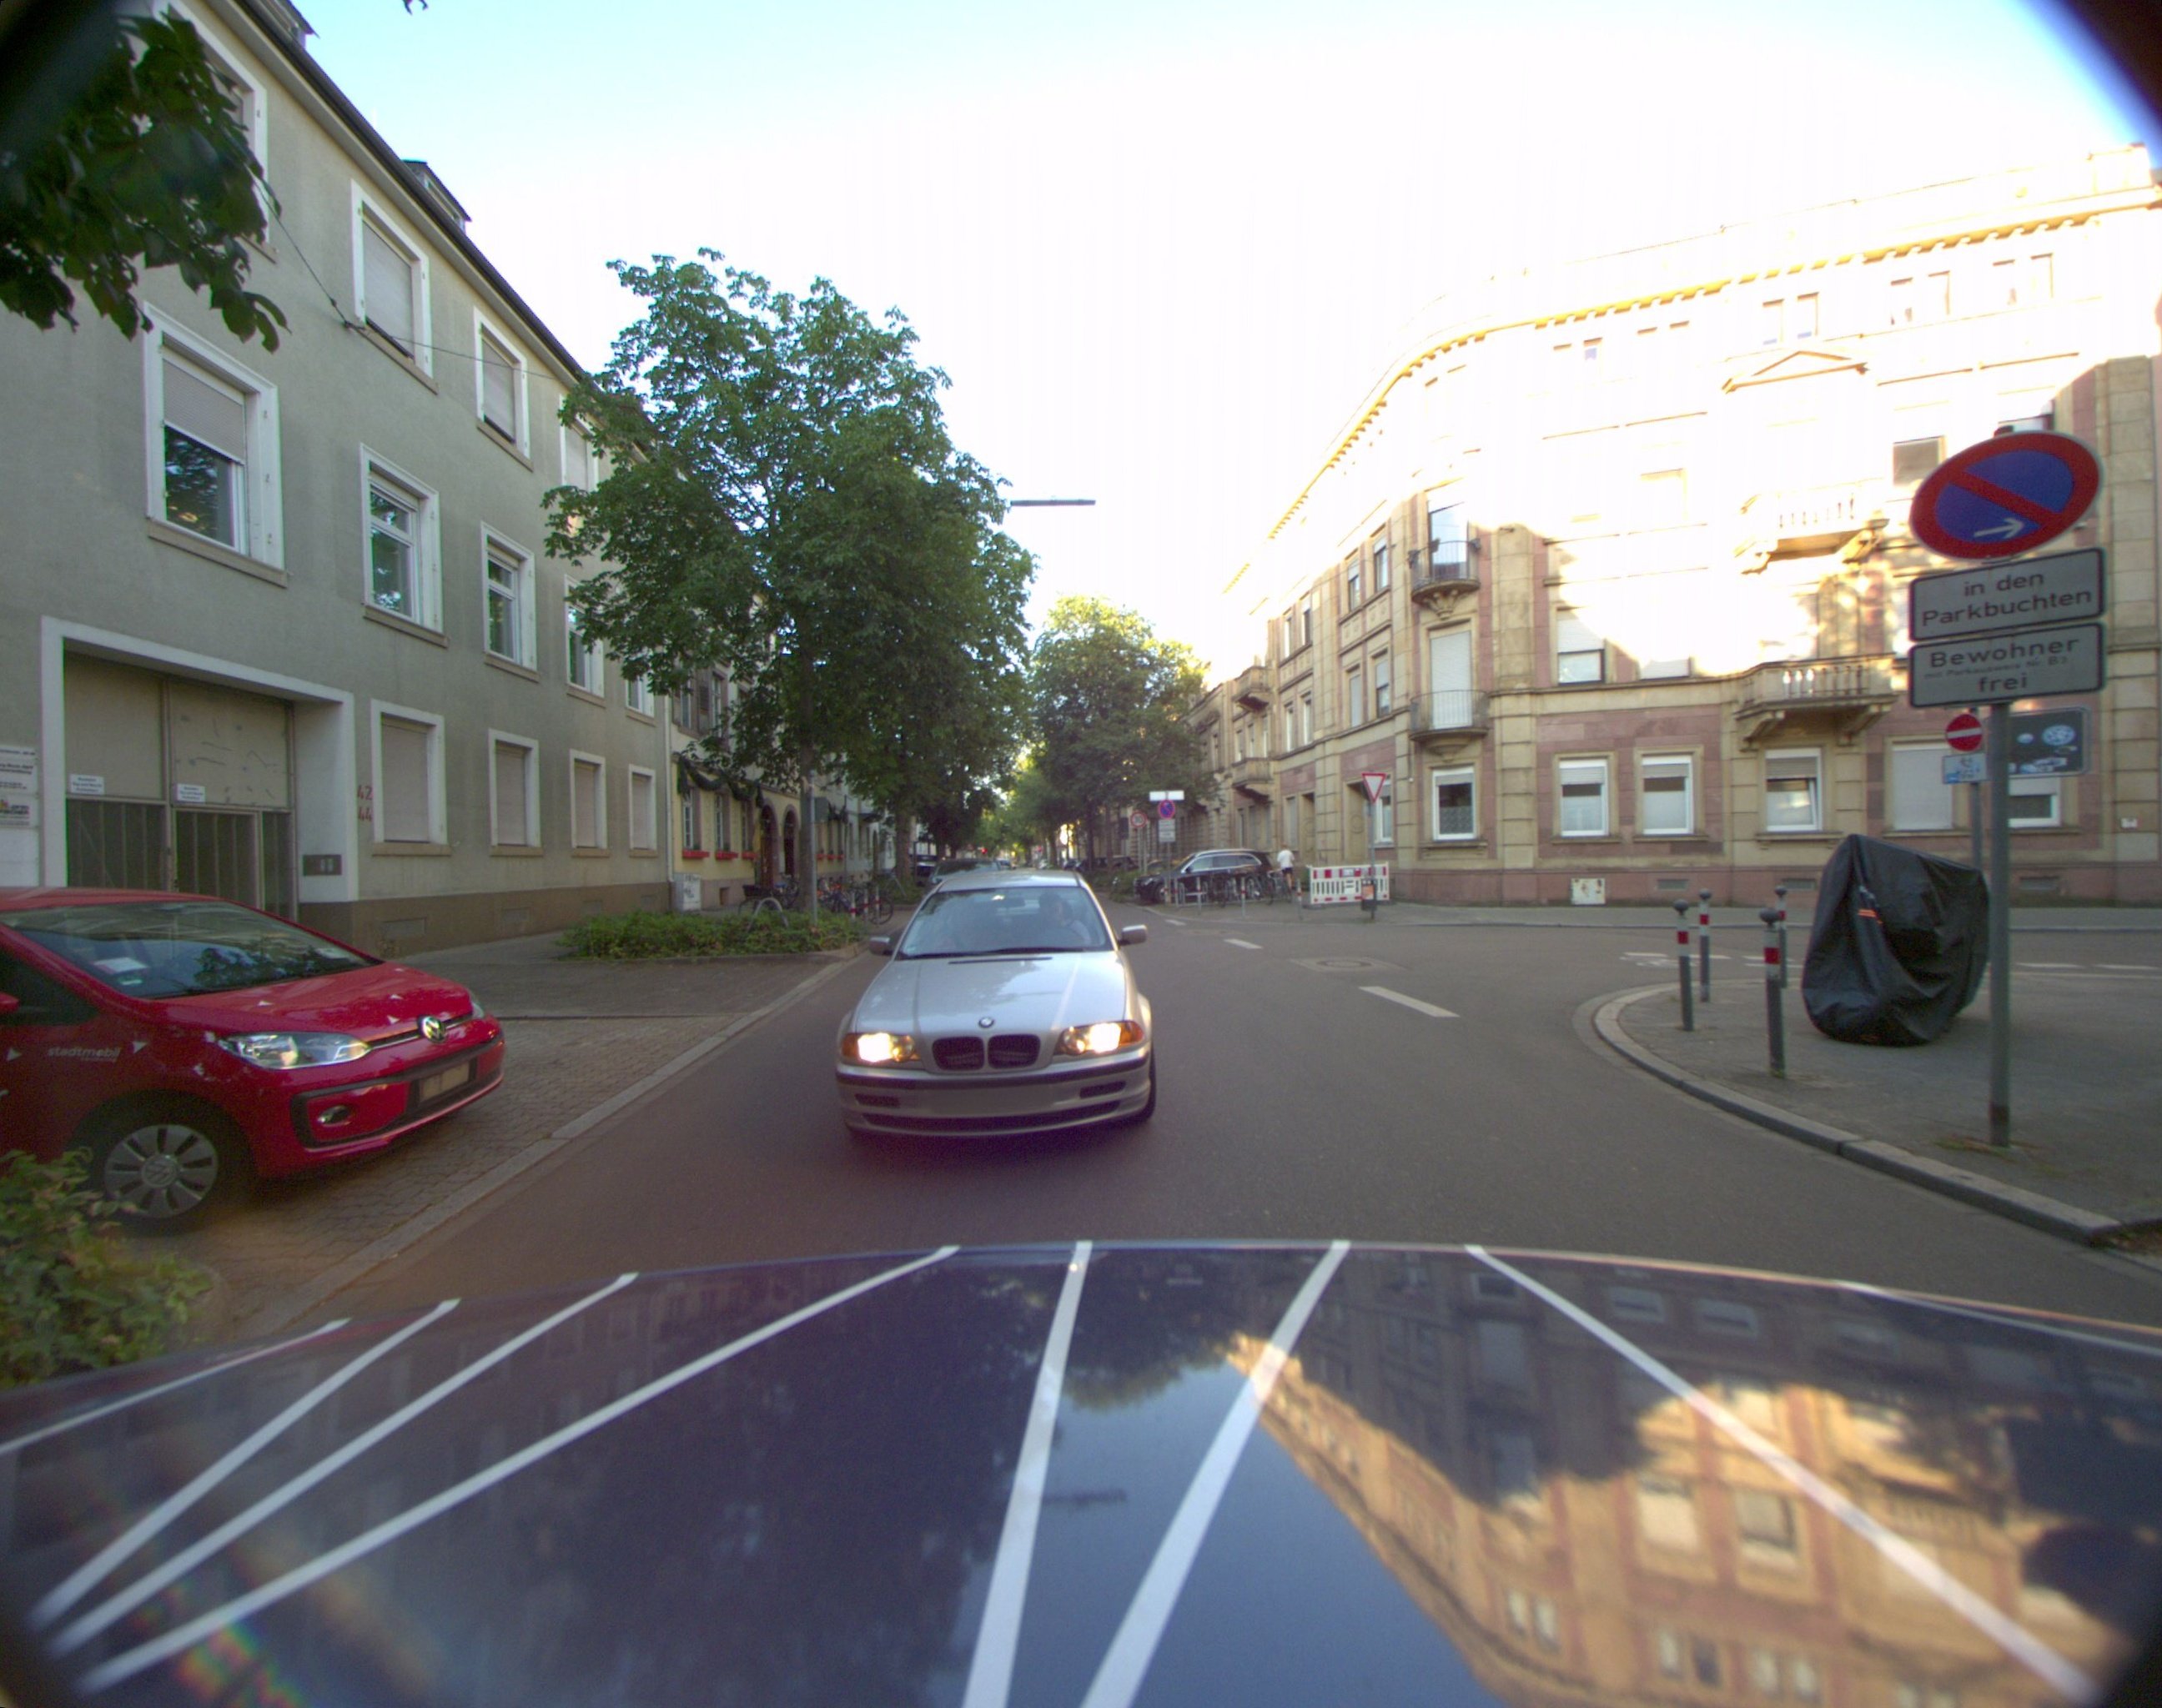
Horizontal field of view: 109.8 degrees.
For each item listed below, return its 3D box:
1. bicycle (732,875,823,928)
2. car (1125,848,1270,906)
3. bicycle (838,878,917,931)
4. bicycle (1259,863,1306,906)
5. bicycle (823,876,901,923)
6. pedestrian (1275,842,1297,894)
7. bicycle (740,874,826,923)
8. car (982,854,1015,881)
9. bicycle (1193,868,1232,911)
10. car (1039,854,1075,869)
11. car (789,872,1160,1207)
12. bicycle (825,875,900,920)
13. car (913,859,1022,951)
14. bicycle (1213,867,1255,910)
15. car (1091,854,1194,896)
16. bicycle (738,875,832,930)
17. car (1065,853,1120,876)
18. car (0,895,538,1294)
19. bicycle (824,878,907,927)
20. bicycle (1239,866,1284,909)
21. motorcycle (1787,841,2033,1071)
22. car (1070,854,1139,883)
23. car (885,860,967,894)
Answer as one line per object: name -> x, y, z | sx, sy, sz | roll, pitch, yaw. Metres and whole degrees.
bicycle -> -7.462, 1.152, 18.763 | 2.030, 1.220, 0.535 | -1, 0, -16
car -> 3.760, 0.729, 24.973 | 4.423, 1.771, 1.741 | -1, 0, -2
bicycle -> -5.005, 1.228, 18.708 | 1.849, 1.220, 0.535 | -1, 0, -16
bicycle -> 5.828, 0.858, 22.124 | 0.562, 1.144, 2.038 | -1, 0, -8
bicycle -> -6.095, 1.256, 21.230 | 2.029, 1.220, 0.535 | -1, 0, -11
pedestrian -> 7.140, 0.476, 26.514 | 0.572, 1.797, 0.651 | -1, 1, 2
bicycle -> -7.782, 1.150, 19.909 | 2.029, 1.220, 0.535 | -1, 0, -13
car -> -4.857, 0.763, 45.004 | 1.806, 1.543, 3.998 | -1, 0, -4
bicycle -> 3.777, 1.003, 21.965 | 0.562, 1.144, 2.038 | -1, 0, -6
car -> -2.965, 0.894, 92.843 | 4.245, 1.749, 1.741 | -1, 0, -4
car -> -0.467, 0.926, 5.784 | 1.711, 1.433, 4.436 | -1, 0, 1
bicycle -> -6.335, 1.255, 22.100 | 2.029, 1.220, 0.535 | -1, 0, -11
car -> -2.154, 0.912, 15.380 | 1.806, 1.543, 3.998 | -1, 0, -4
bicycle -> 4.416, 0.959, 22.033 | 0.562, 1.144, 2.038 | -1, 0, -6
car -> 2.569, 0.857, 32.393 | 4.243, 1.668, 1.742 | -1, 0, -1
bicycle -> -7.003, 1.143, 18.060 | 2.030, 1.220, 0.535 | -1, 0, -16
car -> 0.918, 0.815, 61.157 | 4.245, 1.749, 1.741 | -1, 0, -4
car -> -5.143, 1.025, 3.746 | 3.621, 1.468, 1.663 | -1, 0, -7
bicycle -> -5.628, 1.253, 19.949 | 2.029, 1.220, 0.535 | -1, 0, -11
bicycle -> 5.209, 0.937, 22.074 | 0.562, 1.144, 2.038 | -1, 0, -8
motorcycle -> 6.522, 0.668, 5.941 | 2.286, 1.496, 0.816 | -1, 1, -30
car -> 1.457, 0.914, 48.687 | 4.245, 1.749, 1.741 | -1, 0, -4
car -> -8.511, 1.228, 41.982 | 4.245, 1.729, 1.741 | -1, 0, -6
